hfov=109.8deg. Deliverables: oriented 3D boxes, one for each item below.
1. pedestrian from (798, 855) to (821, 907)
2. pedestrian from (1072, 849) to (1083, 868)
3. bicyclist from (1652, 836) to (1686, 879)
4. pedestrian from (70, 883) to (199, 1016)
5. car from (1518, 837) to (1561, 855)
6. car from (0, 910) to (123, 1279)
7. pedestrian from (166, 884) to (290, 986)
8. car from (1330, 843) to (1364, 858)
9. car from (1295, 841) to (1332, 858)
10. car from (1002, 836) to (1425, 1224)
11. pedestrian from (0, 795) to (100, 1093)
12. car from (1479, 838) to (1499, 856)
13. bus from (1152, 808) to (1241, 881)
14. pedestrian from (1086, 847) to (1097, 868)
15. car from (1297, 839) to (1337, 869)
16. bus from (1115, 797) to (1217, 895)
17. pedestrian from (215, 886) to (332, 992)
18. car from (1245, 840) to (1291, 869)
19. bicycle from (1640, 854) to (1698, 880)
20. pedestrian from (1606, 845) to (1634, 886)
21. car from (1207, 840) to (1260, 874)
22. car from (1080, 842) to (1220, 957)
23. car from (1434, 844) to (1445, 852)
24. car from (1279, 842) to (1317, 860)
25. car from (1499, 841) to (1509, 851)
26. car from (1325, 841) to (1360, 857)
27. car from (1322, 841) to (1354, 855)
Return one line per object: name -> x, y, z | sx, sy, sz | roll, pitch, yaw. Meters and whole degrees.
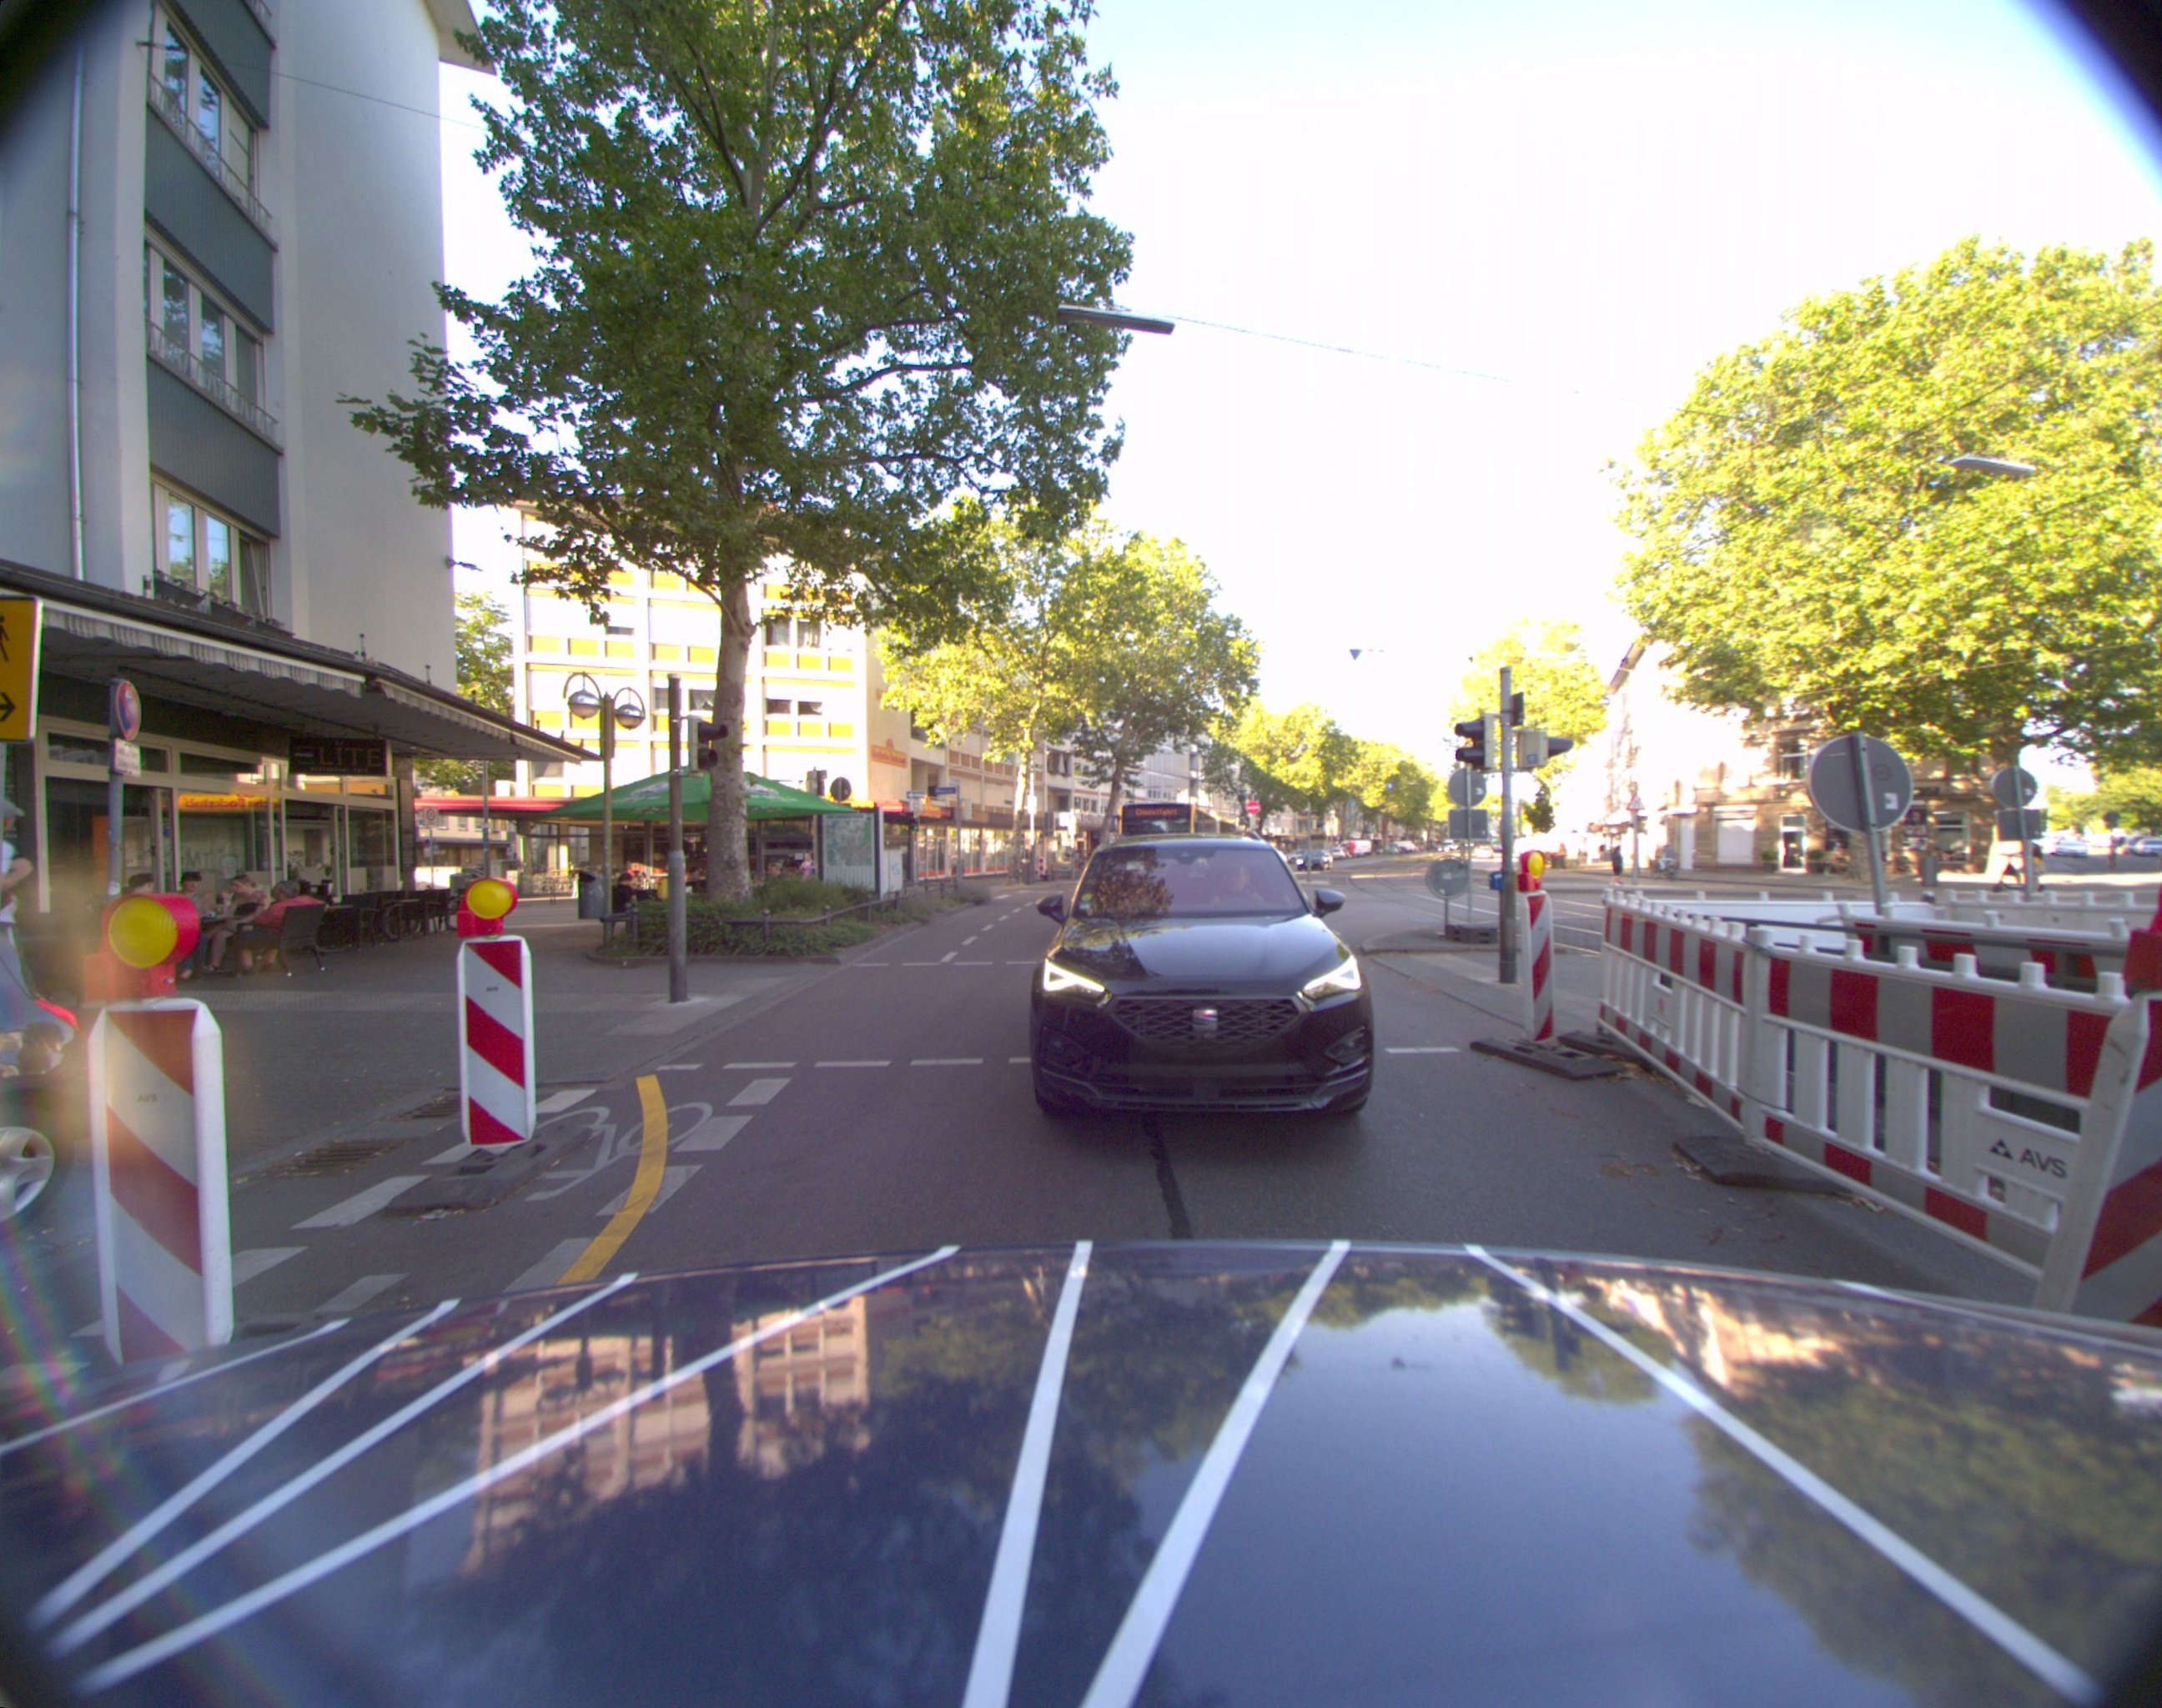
pedestrian -> -8.546, 0.837, 23.929 | 0.629, 1.628, 0.531 | -1, 1, -15
pedestrian -> -0.242, 0.357, 56.817 | 0.627, 1.429, 0.532 | 0, 1, 20
bicyclist -> 28.208, 0.165, 36.466 | 0.855, 2.002, 0.983 | -1, 1, 0
pedestrian -> -10.077, 0.976, 8.099 | 0.789, 1.299, 0.701 | 0, 1, 28
car -> 52.434, -0.960, 86.891 | 4.001, 2.002, 1.997 | -1, 1, -13
car -> -5.228, 0.986, 1.644 | 1.771, 1.459, 3.610 | 2, 0, -2
pedestrian -> -10.758, 0.998, 9.610 | 0.647, 1.186, 0.792 | 0, 1, 7
car -> 36.206, -0.517, 103.484 | 3.994, 2.002, 2.001 | -1, 1, 8
car -> 28.304, -0.555, 92.612 | 3.994, 2.002, 2.001 | -1, 1, 8
car -> 0.610, 0.758, 5.330 | 1.841, 1.696, 4.000 | -1, 1, 1
pedestrian -> -7.382, 0.591, 4.994 | 0.648, 1.948, 0.889 | -1, 1, 0
car -> 47.652, -0.849, 88.745 | 1.995, 2.002, 4.007 | 0, 1, 29
bus -> 5.803, -0.436, 36.726 | 2.717, 3.088, 8.608 | 0, 1, 19
pedestrian -> 0.770, 0.250, 56.391 | 0.627, 1.577, 0.532 | 0, 1, 20
car -> 16.551, -0.046, 53.216 | 1.995, 2.002, 4.007 | 0, 1, 27
bus -> 3.424, -0.289, 28.234 | 2.718, 3.088, 8.629 | 0, 1, 13
pedestrian -> -9.884, 1.012, 9.309 | 0.877, 1.186, 0.701 | 0, 1, 24
car -> 13.539, 0.024, 54.902 | 1.994, 2.002, 4.008 | 0, 1, 33
bicycle -> 28.192, 0.601, 36.474 | 0.851, 1.186, 2.465 | -1, 1, -1
pedestrian -> 20.302, 0.429, 28.645 | 0.603, 1.524, 0.745 | 0, 1, 12
car -> 9.265, 0.151, 45.967 | 1.995, 2.002, 4.105 | 0, 1, 29
car -> 1.015, 0.640, 12.945 | 1.998, 1.634, 4.075 | -1, 1, 1
car -> 76.486, -1.340, 162.155 | 1.836, 1.692, 4.138 | 0, 1, 31
car -> 24.328, -0.376, 85.102 | 3.991, 2.002, 2.003 | 0, 1, 18
car -> 79.062, -1.424, 141.936 | 1.686, 1.841, 4.007 | 0, 1, 29
car -> 33.887, -0.683, 98.452 | 3.994, 2.002, 2.001 | -1, 1, 8
car -> 36.426, -0.843, 107.597 | 3.994, 2.002, 2.001 | -1, 1, 8
